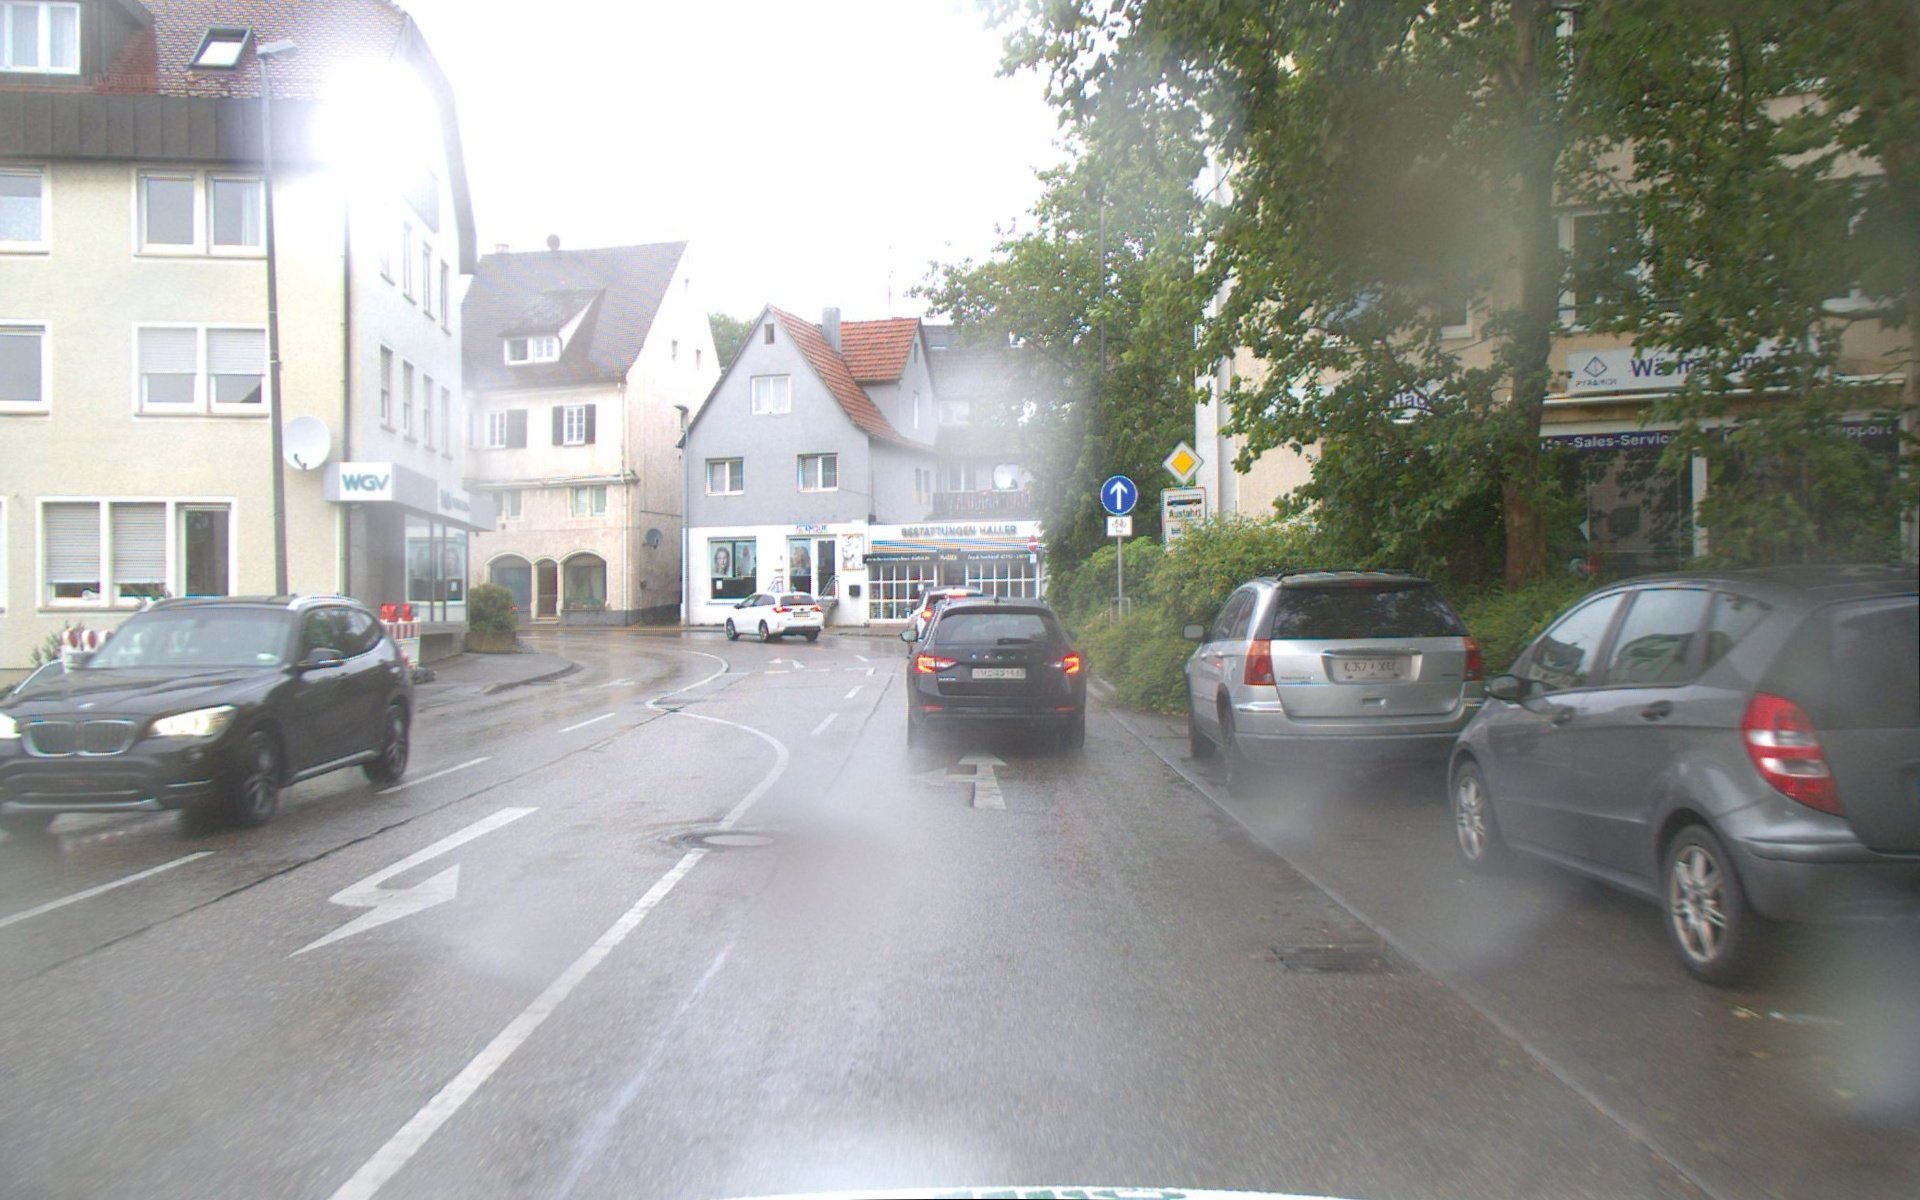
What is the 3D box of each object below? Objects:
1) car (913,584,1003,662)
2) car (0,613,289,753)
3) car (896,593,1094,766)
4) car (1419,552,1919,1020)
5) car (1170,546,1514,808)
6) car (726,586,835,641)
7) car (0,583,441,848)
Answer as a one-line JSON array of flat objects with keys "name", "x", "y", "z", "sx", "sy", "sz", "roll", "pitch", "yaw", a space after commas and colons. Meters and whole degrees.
[{"name": "car", "x": 0.011, "y": 0.472, "z": 37.122, "sx": 1.751, "sy": 1.543, "sz": 4.243, "roll": -1, "pitch": 1, "yaw": 3}, {"name": "car", "x": -12.026, "y": 1.185, "z": 24.490, "sx": 3.438, "sy": 1.413, "sz": 1.648, "roll": -8, "pitch": 3, "yaw": -10}, {"name": "car", "x": 0.246, "y": 0.720, "z": 17.375, "sx": 1.698, "sy": 1.475, "sz": 4.238, "roll": -1, "pitch": 1, "yaw": -4}, {"name": "car", "x": 3.607, "y": 0.607, "z": 7.700, "sx": 1.675, "sy": 1.600, "sz": 3.912, "roll": -2, "pitch": 0, "yaw": -3}, {"name": "car", "x": 3.012, "y": 0.526, "z": 14.119, "sx": 1.891, "sy": 1.811, "sz": 4.734, "roll": -2, "pitch": 0, "yaw": 1}, {"name": "car", "x": -5.504, "y": 0.374, "z": 50.304, "sx": 1.767, "sy": 1.491, "sz": 4.121, "roll": -1, "pitch": 2, "yaw": -31}, {"name": "car", "x": -5.440, "y": 0.708, "z": 12.372, "sx": 1.779, "sy": 1.599, "sz": 4.275, "roll": -2, "pitch": 0, "yaw": -1}]
